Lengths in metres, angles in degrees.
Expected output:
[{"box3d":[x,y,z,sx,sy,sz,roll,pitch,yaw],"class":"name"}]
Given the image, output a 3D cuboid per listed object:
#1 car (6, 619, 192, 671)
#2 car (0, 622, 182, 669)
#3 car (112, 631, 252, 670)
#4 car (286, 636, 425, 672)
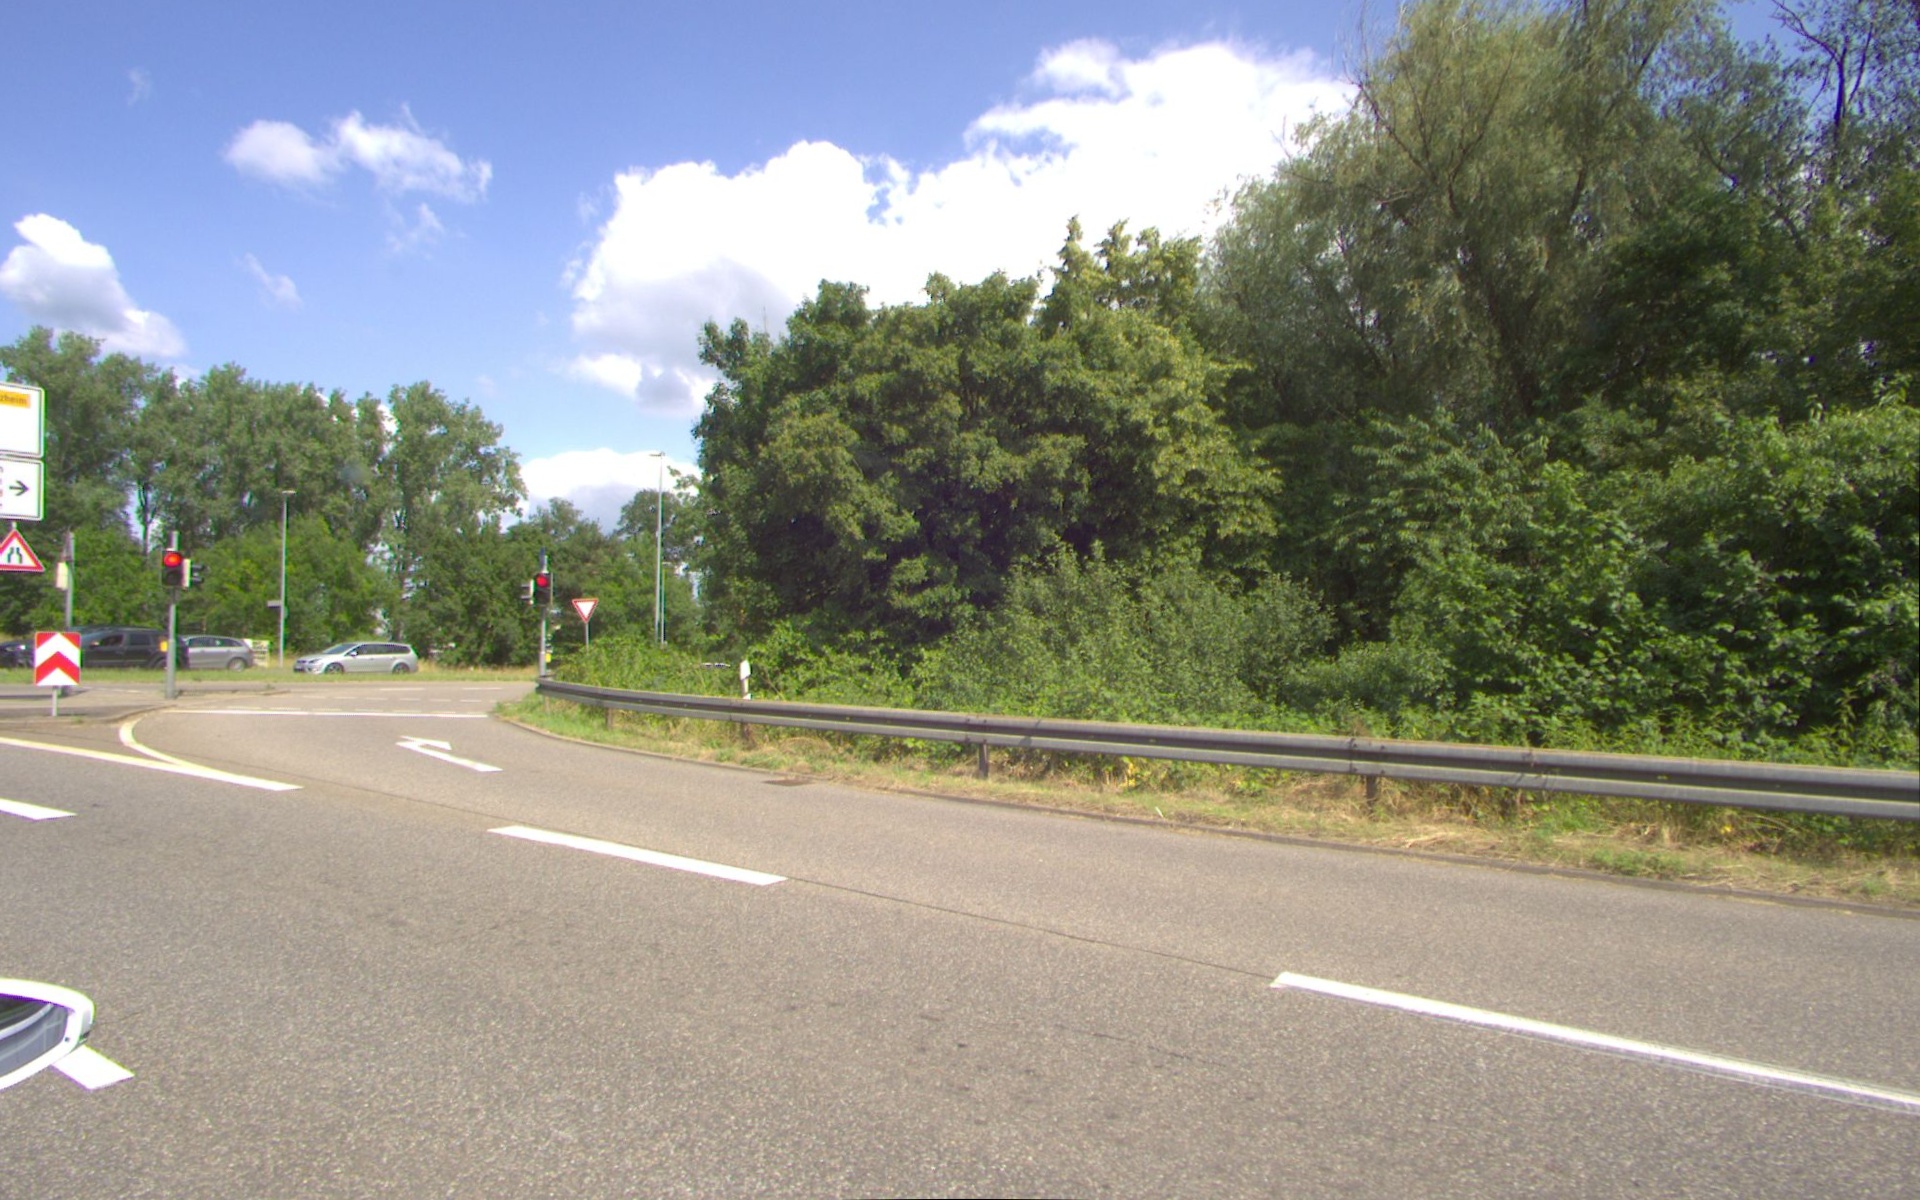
[{"box3d":[-27.972,1.481,32.668,1.711,1.564,4.264,0,-3,31],"class":"car"},{"box3d":[-30.748,1.614,35.399,1.711,1.564,4.842,0,-3,31],"class":"car"},{"box3d":[-31.864,2.069,41.144,1.971,1.515,4.102,0,-3,31],"class":"car"},{"box3d":[-23.879,2.143,39.733,1.710,1.337,4.471,0,-3,29],"class":"car"}]
